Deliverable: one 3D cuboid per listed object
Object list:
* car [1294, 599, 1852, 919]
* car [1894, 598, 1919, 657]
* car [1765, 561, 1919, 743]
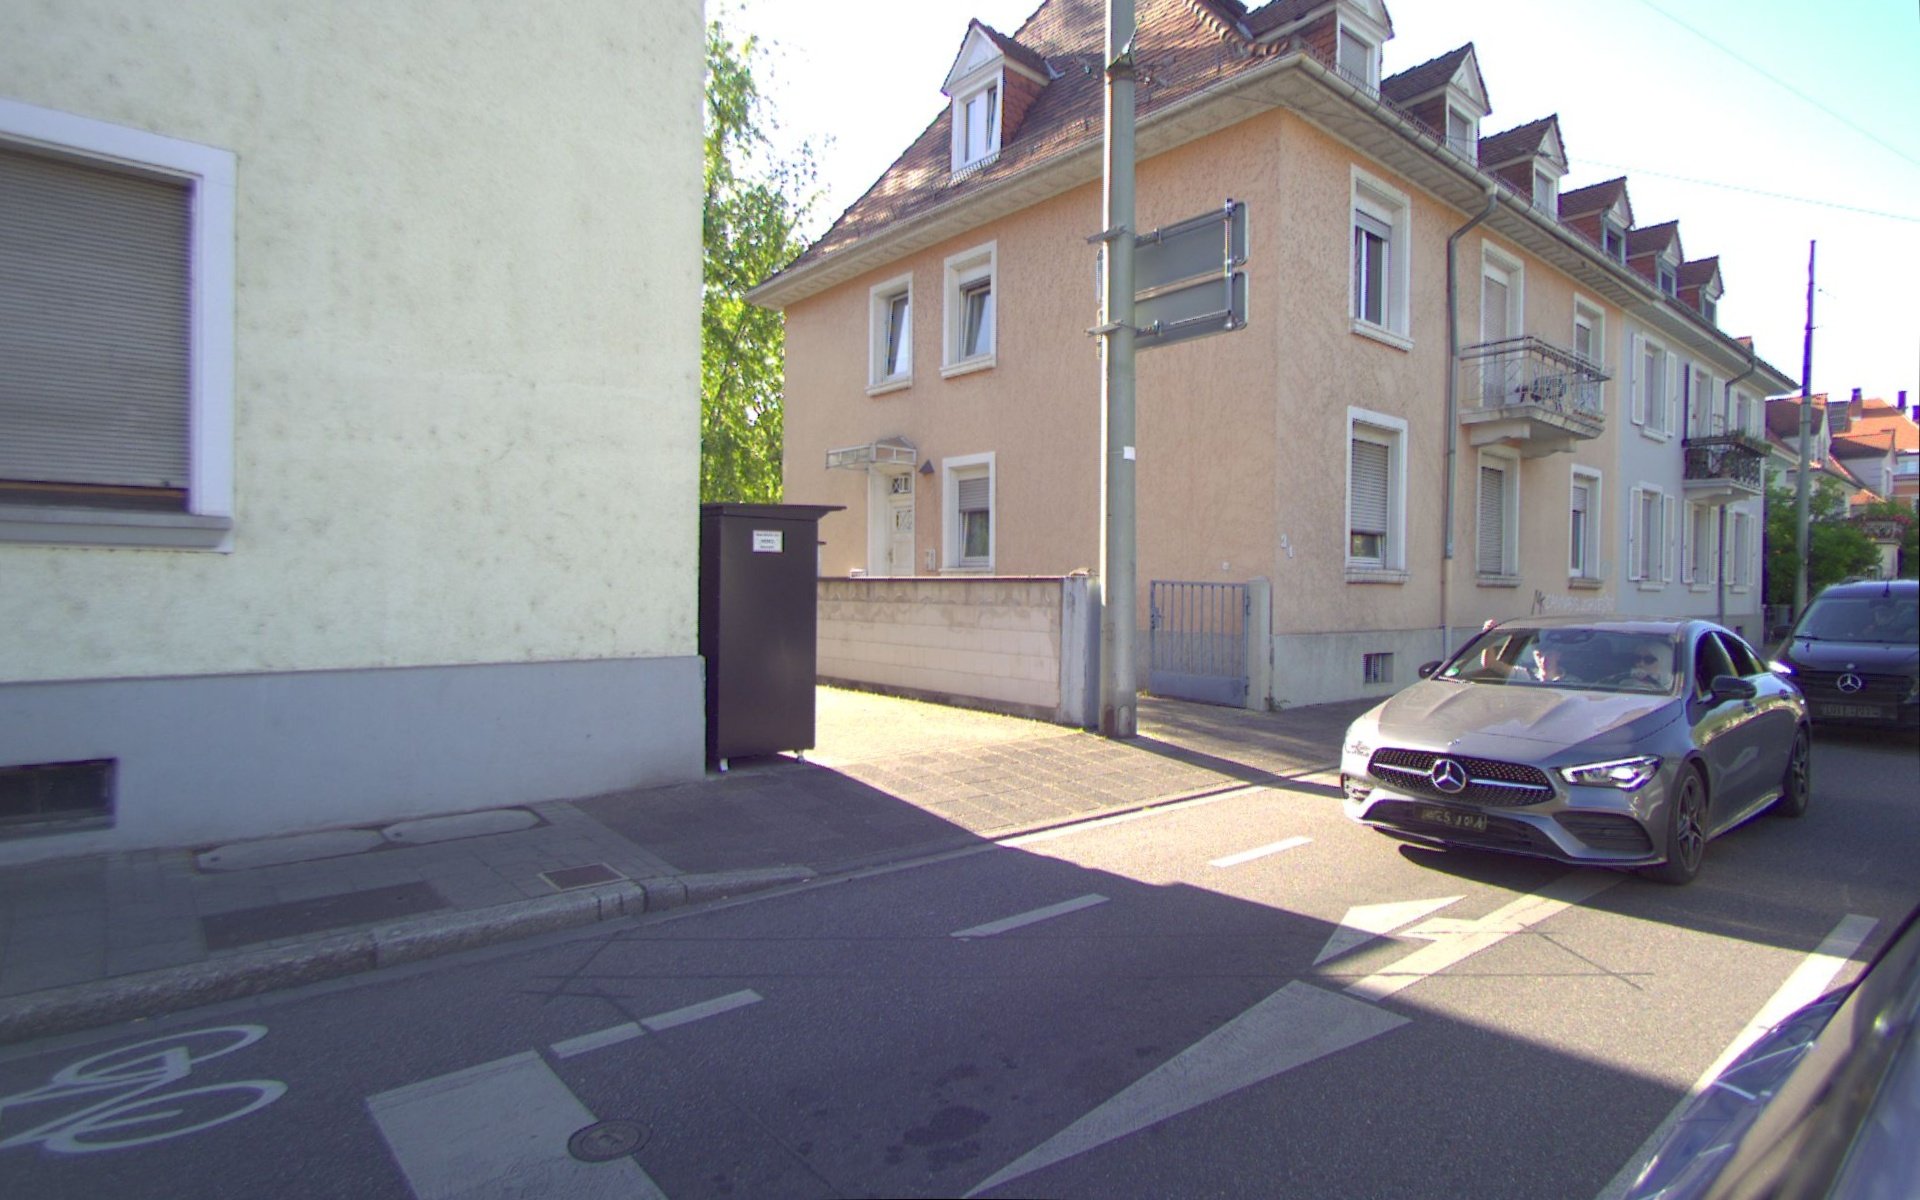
[{"bbox_3d":[4.332,0.734,6.846,4.413,1.437,1.911,-1,0,-40],"label":"car"},{"bbox_3d":[26.084,0.692,26.596,3.930,1.476,1.839,-1,0,-41],"label":"car"},{"bbox_3d":[11.208,0.498,11.930,4.695,1.827,1.864,-1,0,-41],"label":"car"}]
